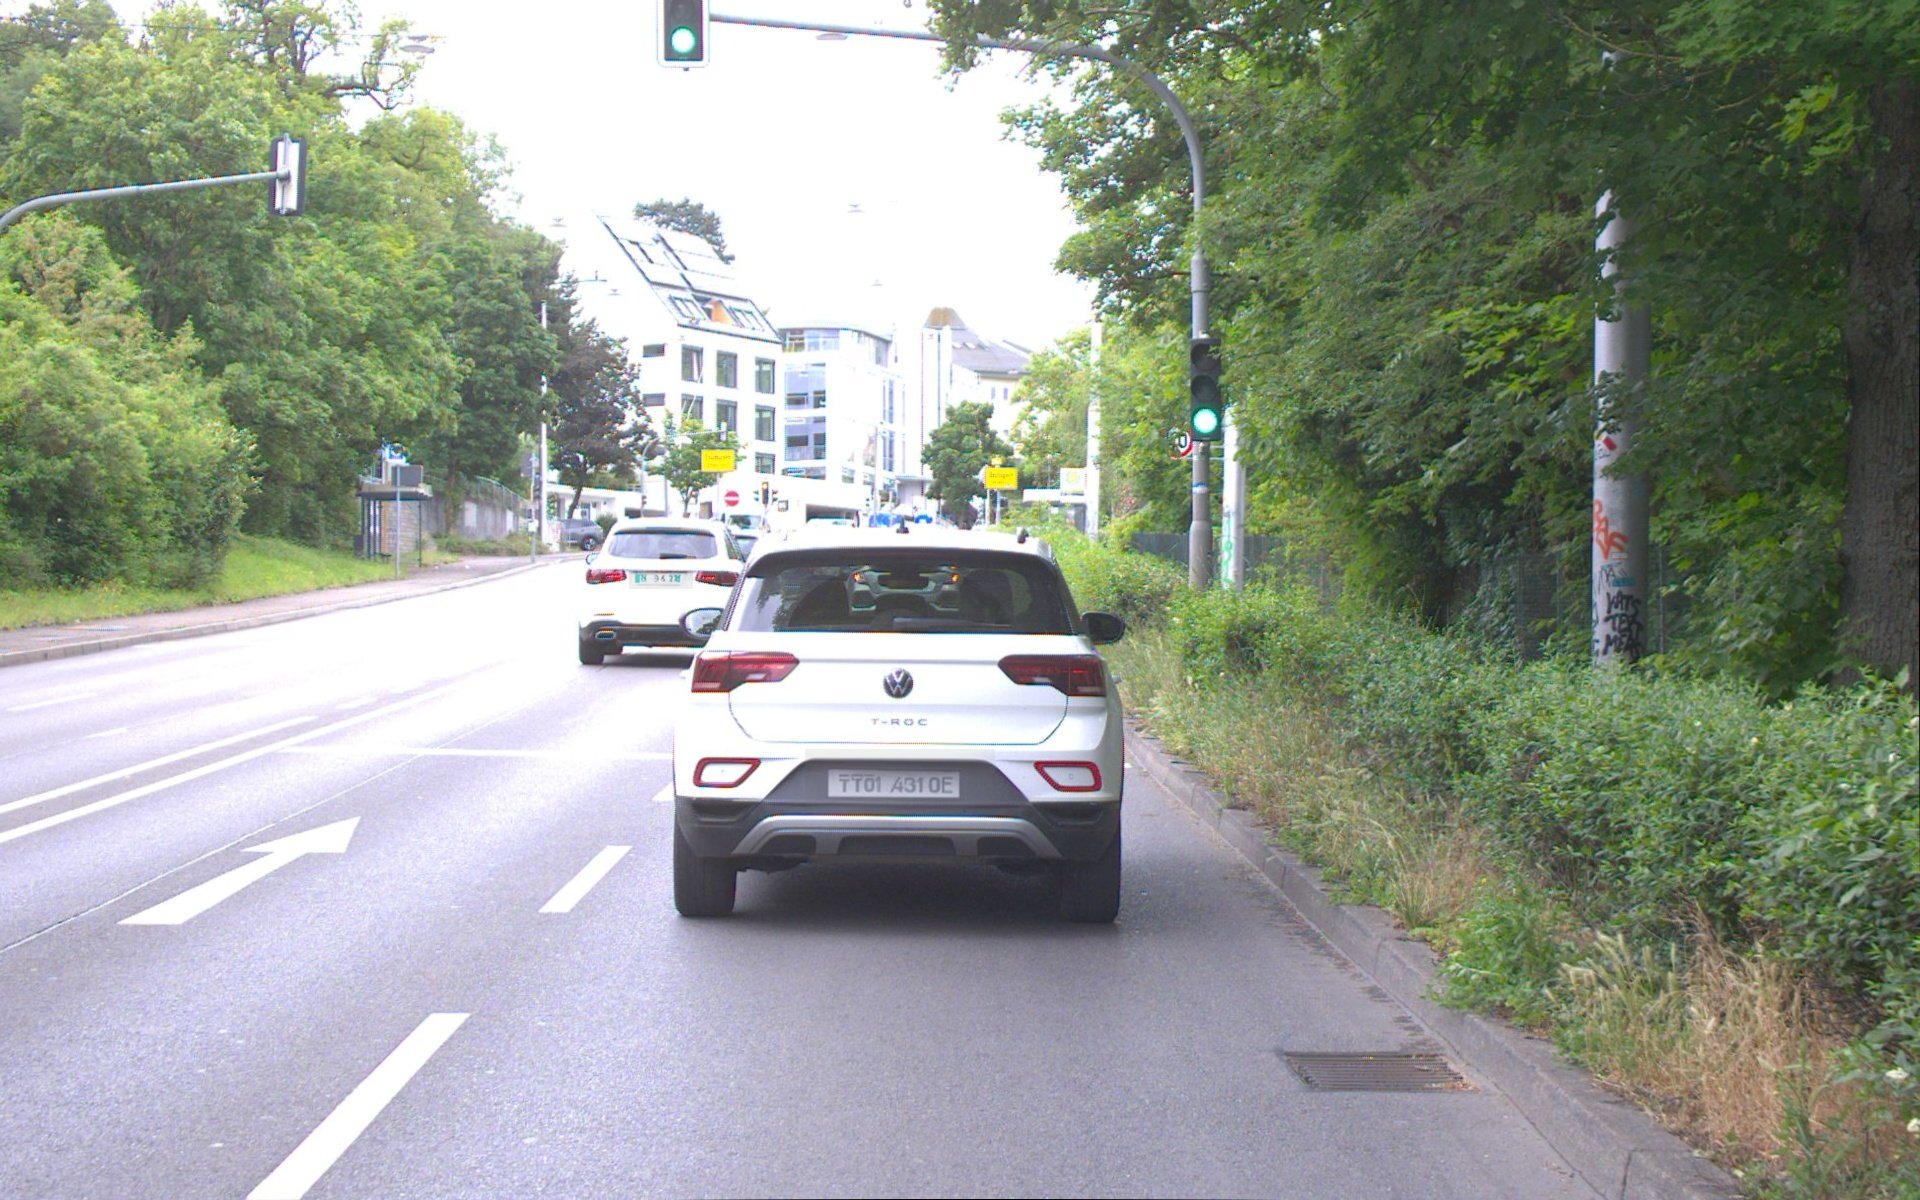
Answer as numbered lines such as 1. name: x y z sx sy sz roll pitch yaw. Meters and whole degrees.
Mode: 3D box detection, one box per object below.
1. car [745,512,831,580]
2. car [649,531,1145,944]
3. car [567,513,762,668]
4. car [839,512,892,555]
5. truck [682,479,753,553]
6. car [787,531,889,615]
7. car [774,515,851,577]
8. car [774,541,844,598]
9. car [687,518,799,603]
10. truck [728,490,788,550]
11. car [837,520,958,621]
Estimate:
1. car: -3.926 -1.248 78.918 1.829 1.520 4.000 0 1 -1
2. car: -0.264 0.469 14.724 1.829 1.520 4.000 0 1 -1
3. car: -3.303 -0.144 39.044 1.918 1.664 4.000 0 1 -1
4. car: -3.402 -2.413 124.353 1.829 1.520 4.000 0 1 -1
5. truck: -9.112 -3.175 129.576 2.362 2.697 4.478 -1 1 -1
6. car: -2.277 -0.534 64.982 1.829 1.520 4.000 0 1 -1
7. car: -3.713 -1.372 87.262 1.829 1.520 4.000 0 1 -1
8. car: -4.163 -0.866 95.374 1.829 1.520 4.000 0 1 -1
9. car: -3.927 -0.744 62.772 1.829 1.492 4.000 0 1 -1
10. truck: -10.524 -4.127 179.484 2.293 3.040 6.979 -1 1 4
11. car: -0.976 -0.488 54.018 1.829 1.520 4.000 0 1 -1
